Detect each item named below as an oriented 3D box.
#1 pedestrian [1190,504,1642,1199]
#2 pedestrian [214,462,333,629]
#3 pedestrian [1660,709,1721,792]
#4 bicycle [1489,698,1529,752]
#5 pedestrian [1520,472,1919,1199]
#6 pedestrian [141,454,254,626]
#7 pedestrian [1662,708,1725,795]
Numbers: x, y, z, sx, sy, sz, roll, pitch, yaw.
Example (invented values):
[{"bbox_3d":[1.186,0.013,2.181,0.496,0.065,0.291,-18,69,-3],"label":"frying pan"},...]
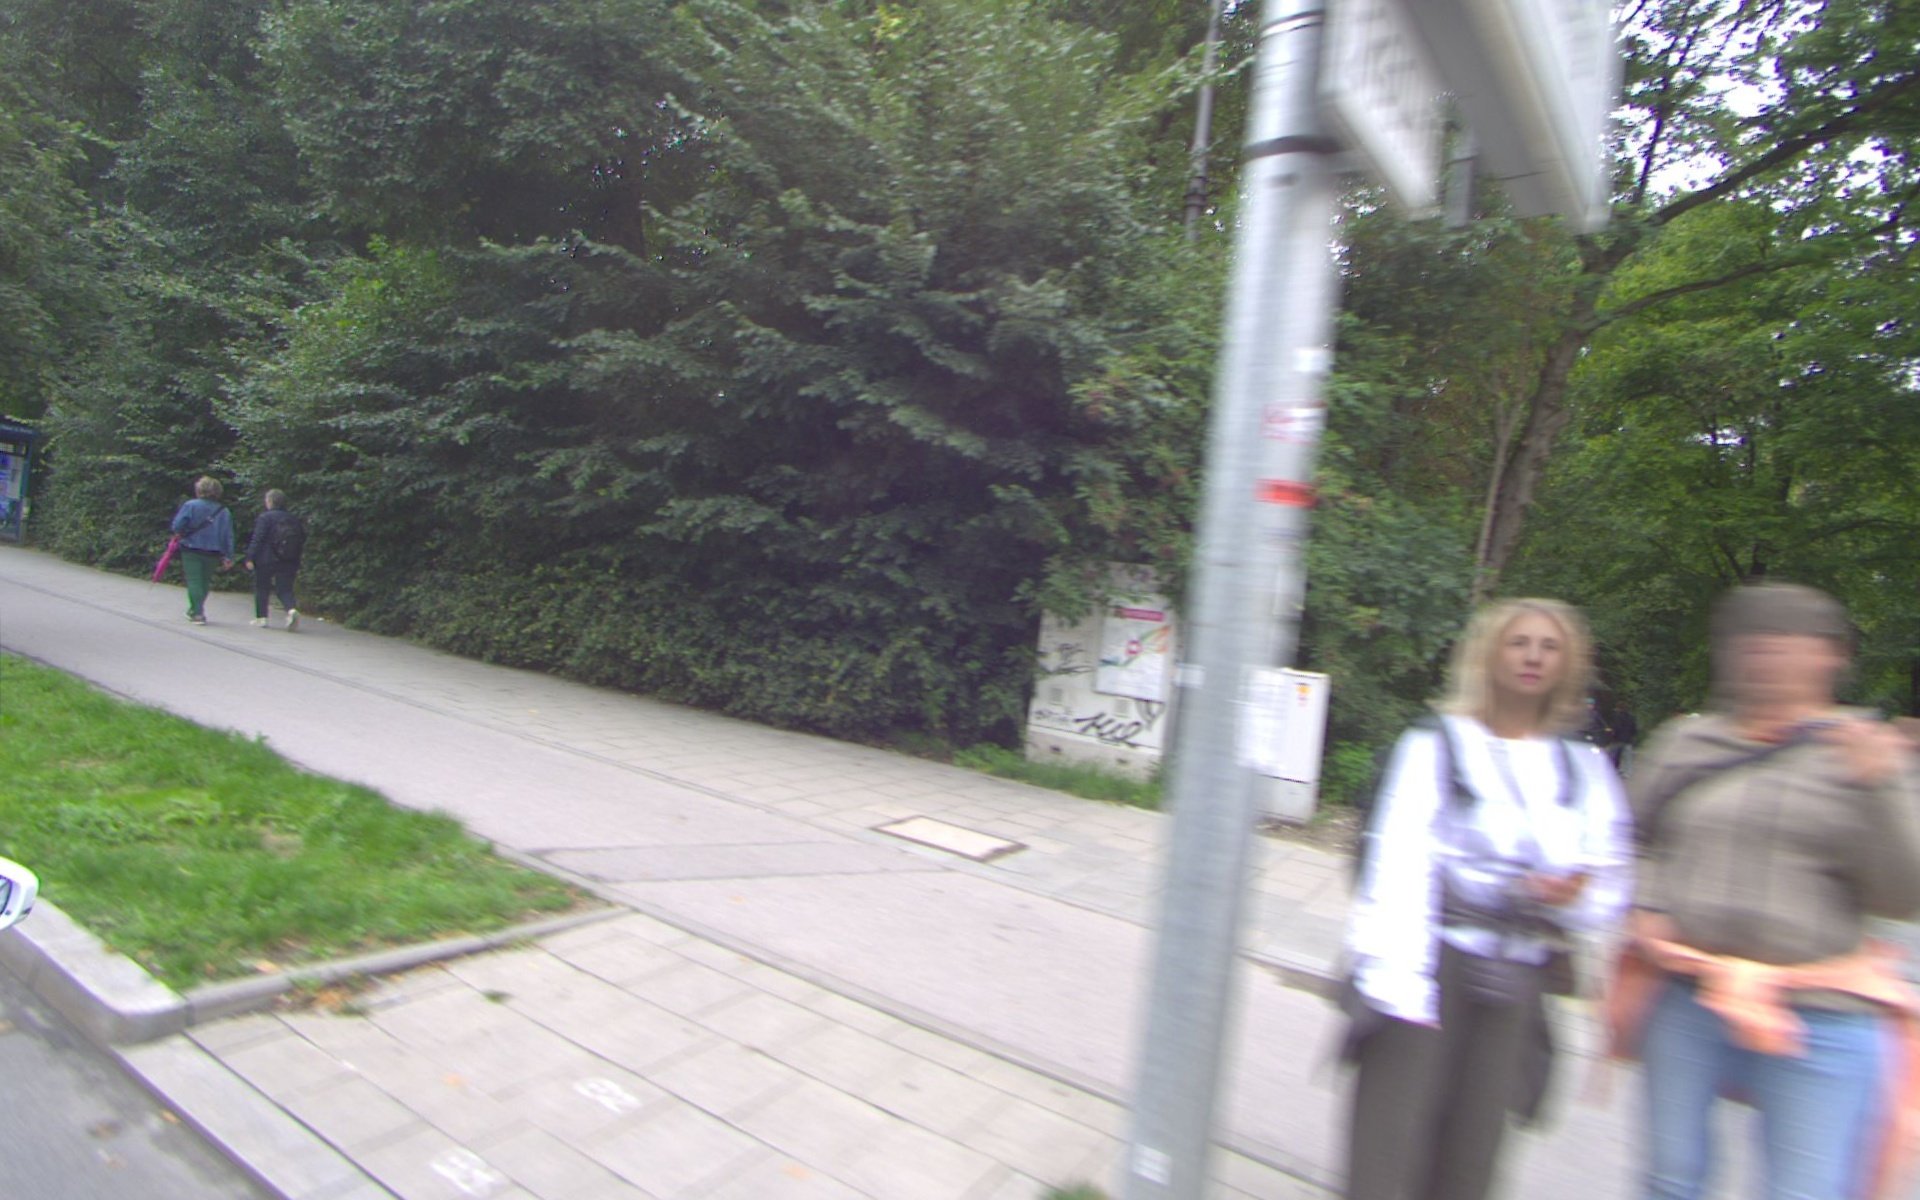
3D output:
[{"bbox_3d":[0.982,0.741,2.259,0.624,1.783,0.625,8,1,27],"label":"pedestrian"},{"bbox_3d":[-8.284,-0.648,12.148,0.744,1.860,0.752,8,0,33],"label":"pedestrian"},{"bbox_3d":[17.173,3.522,23.664,0.722,1.793,0.629,8,1,-1],"label":"pedestrian"},{"bbox_3d":[13.652,3.094,25.060,0.374,1.207,1.852,8,-1,18],"label":"bicycle"},{"bbox_3d":[1.577,0.713,1.963,0.624,1.783,0.610,8,1,26],"label":"pedestrian"},{"bbox_3d":[-8.830,-0.685,11.651,0.630,1.860,0.672,8,0,32],"label":"pedestrian"},{"bbox_3d":[16.626,3.416,22.804,0.722,1.793,0.629,8,1,-1],"label":"pedestrian"}]
